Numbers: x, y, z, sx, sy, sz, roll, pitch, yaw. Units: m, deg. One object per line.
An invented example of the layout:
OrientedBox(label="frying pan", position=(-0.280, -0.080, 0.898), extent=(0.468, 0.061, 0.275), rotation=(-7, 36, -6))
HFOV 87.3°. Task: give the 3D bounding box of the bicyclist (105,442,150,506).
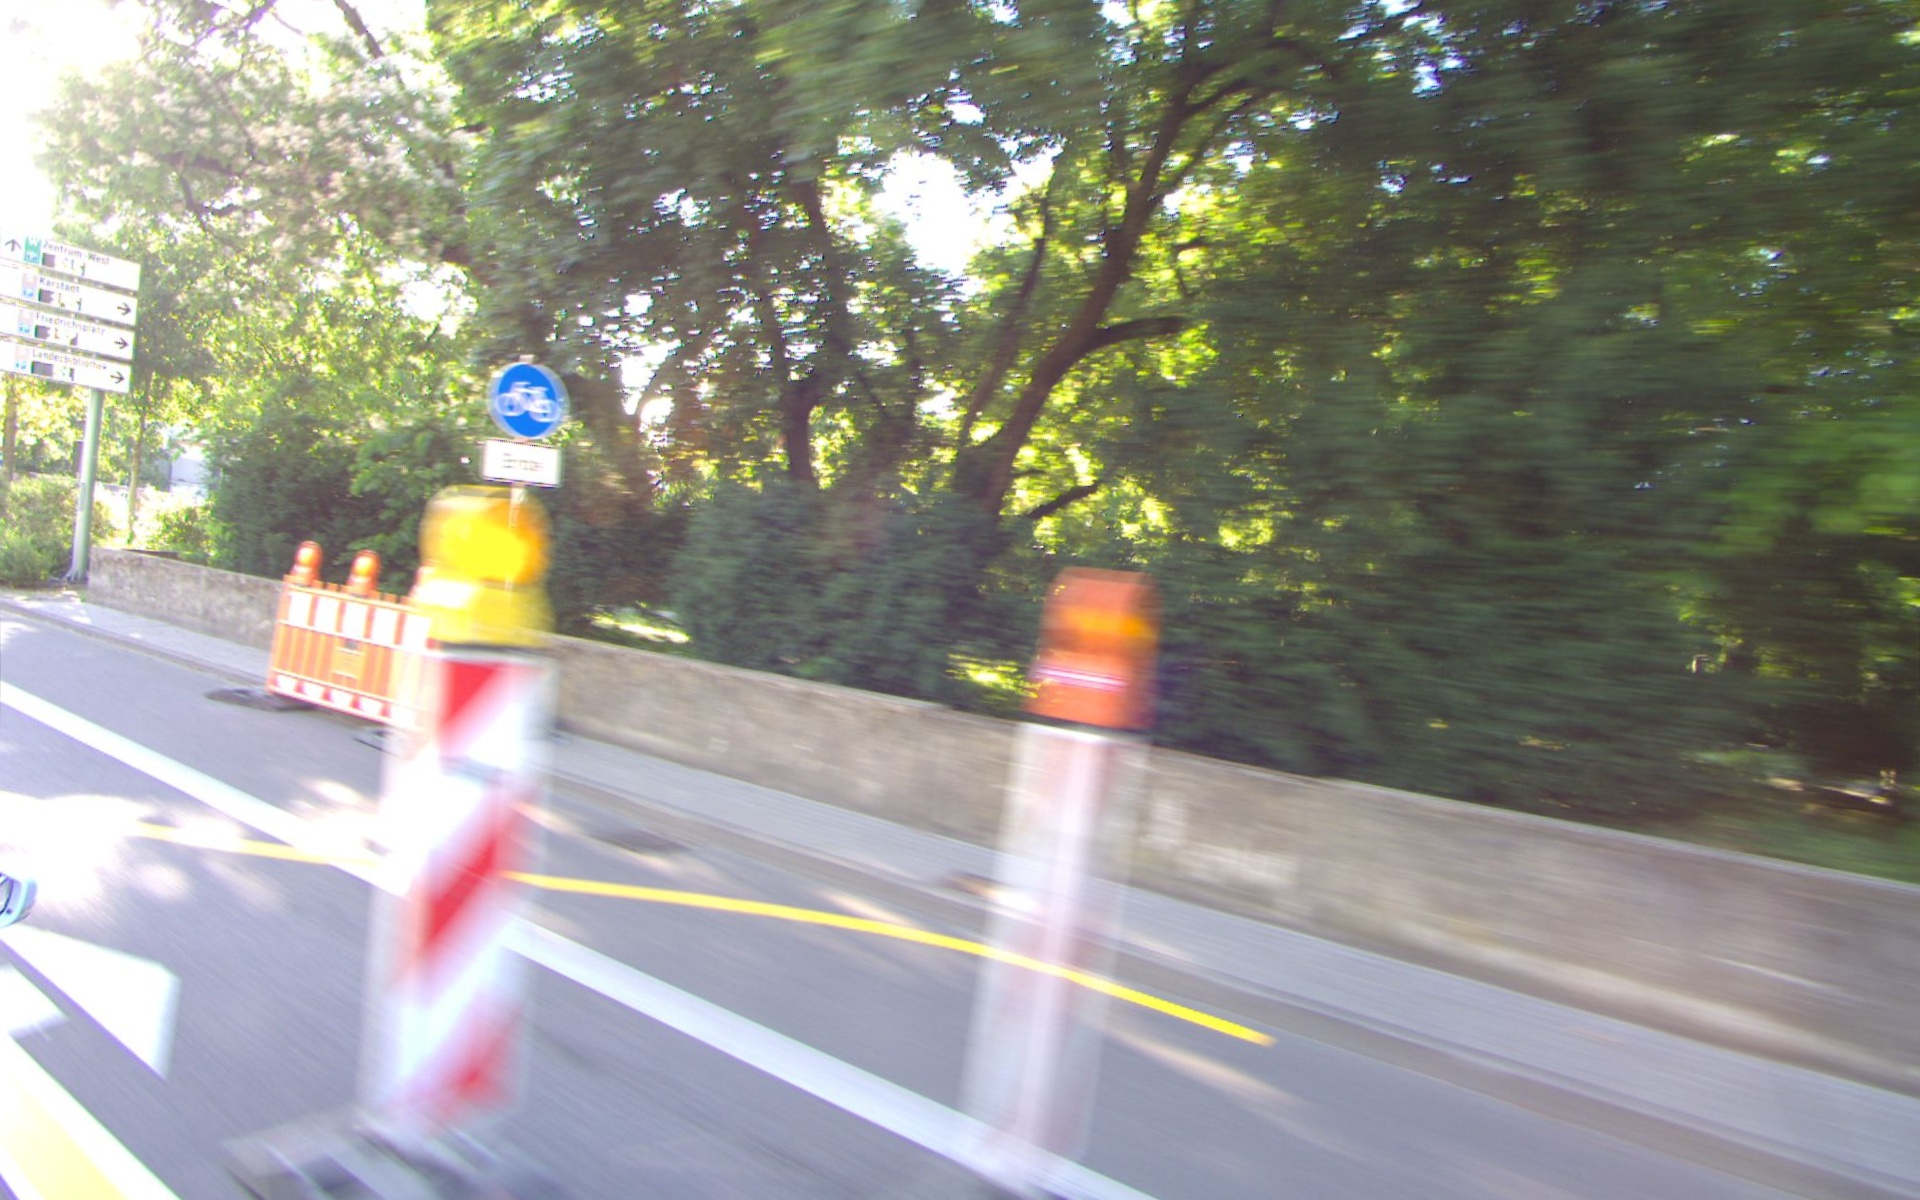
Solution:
OrientedBox(label="bicyclist", position=(-22.885, -3.466, 27.642), extent=(0.888, 1.635, 0.584), rotation=(7, 1, 32))

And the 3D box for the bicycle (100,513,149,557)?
OrientedBox(label="bicycle", position=(-23.049, -1.799, 27.737), extent=(1.880, 1.075, 0.428), rotation=(7, 1, 33))
